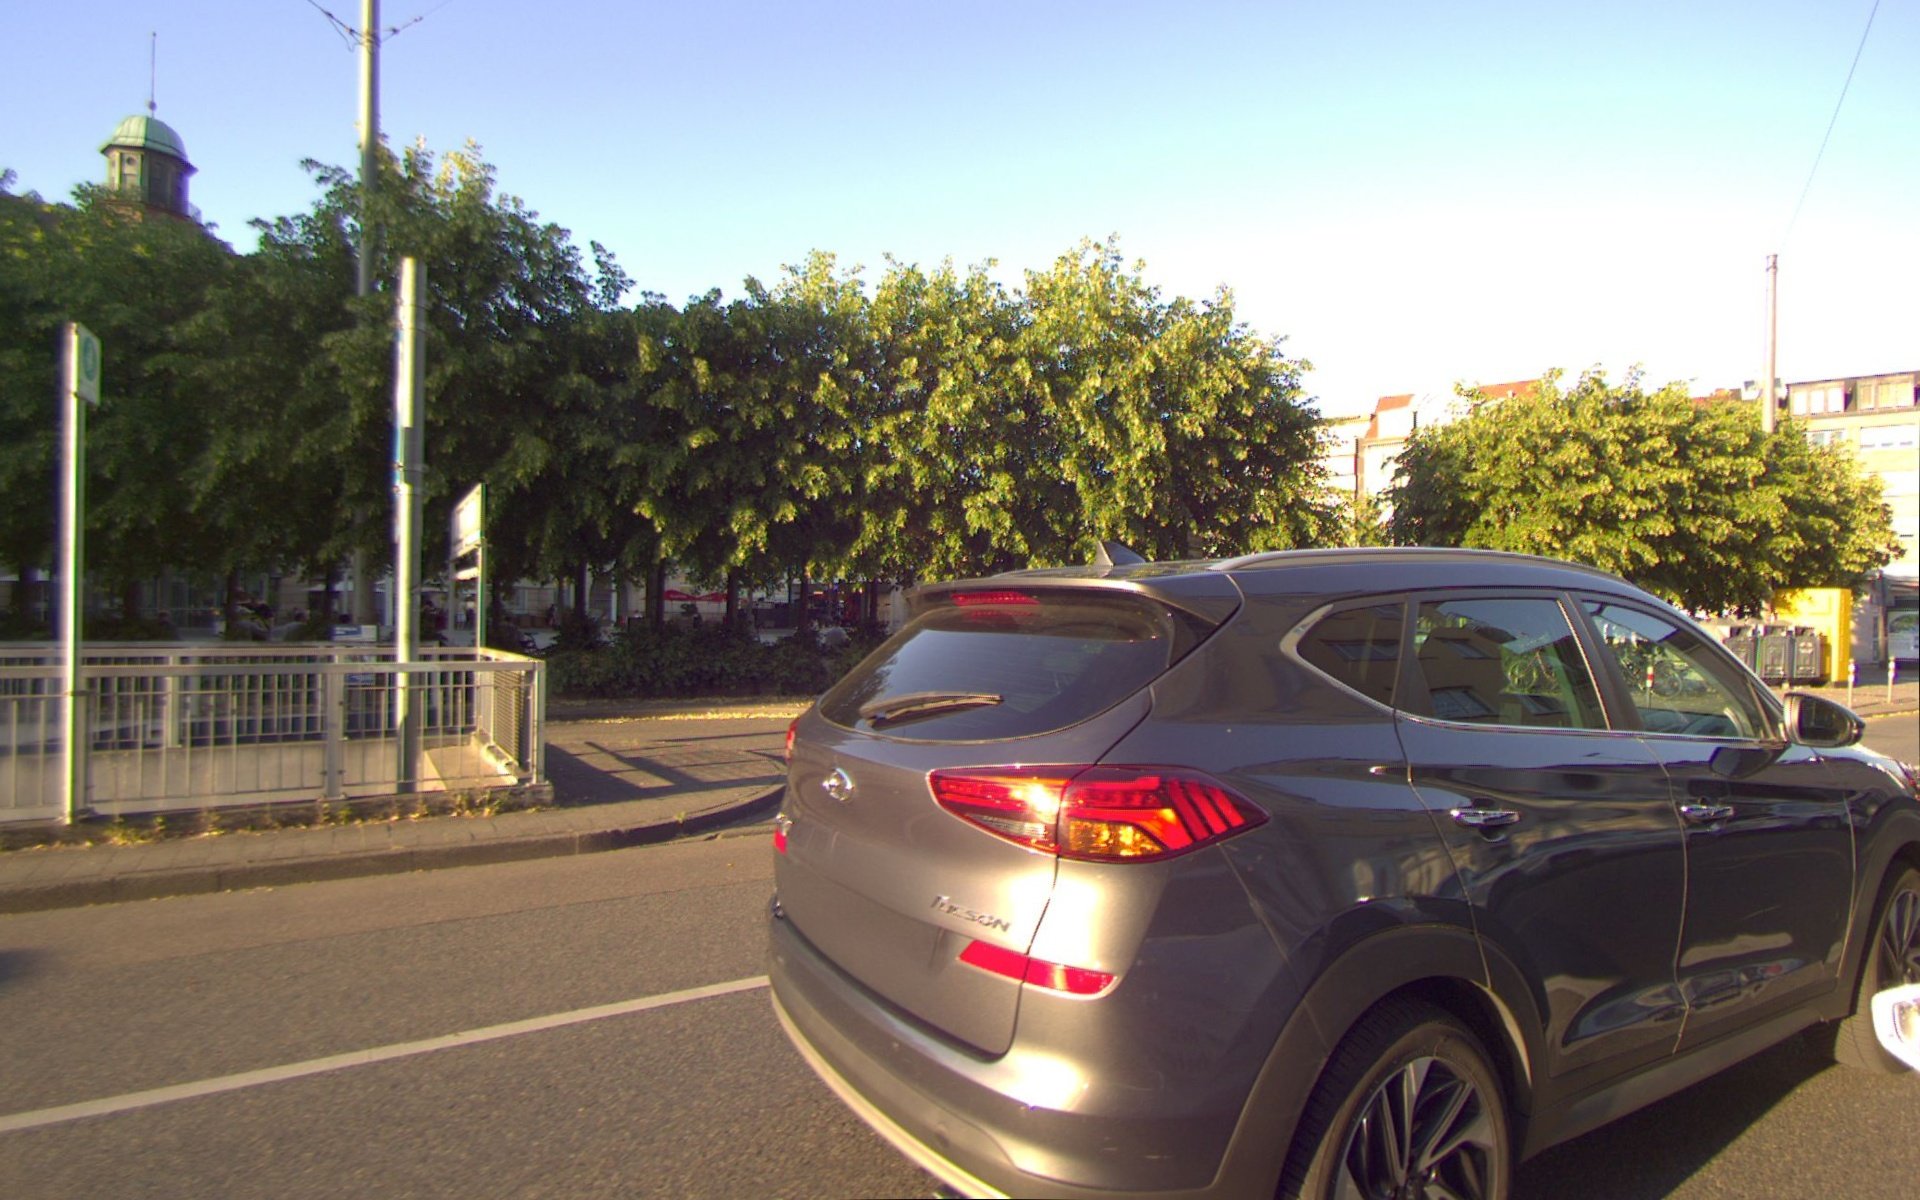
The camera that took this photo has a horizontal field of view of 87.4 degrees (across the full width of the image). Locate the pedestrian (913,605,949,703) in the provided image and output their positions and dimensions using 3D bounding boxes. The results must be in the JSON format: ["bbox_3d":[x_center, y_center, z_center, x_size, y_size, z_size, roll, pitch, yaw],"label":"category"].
[{"bbox_3d":[-0.621,1.141,21.469,0.725,2.040,0.906,1,0,-3],"label":"pedestrian"}]

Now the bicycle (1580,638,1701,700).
[{"bbox_3d":[14.189,1.410,21.000,0.543,1.150,2.012,1,1,-34],"label":"bicycle"}]

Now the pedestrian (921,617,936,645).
[{"bbox_3d":[-1.238,1.214,39.145,0.575,1.077,0.462,0,2,-1],"label":"pedestrian"}]

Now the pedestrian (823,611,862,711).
[{"bbox_3d":[-2.451,1.265,21.063,0.725,2.040,0.906,1,0,-3],"label":"pedestrian"}]

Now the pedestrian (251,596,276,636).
[{"bbox_3d":[-25.067,0.571,36.136,0.650,1.394,0.513,1,0,-45],"label":"pedestrian"}]

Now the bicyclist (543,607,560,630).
[{"bbox_3d":[-26.818,1.238,65.950,0.630,1.467,0.768,2,0,36],"label":"bicyclist"}]

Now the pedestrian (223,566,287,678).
[{"bbox_3d":[-13.310,0.404,18.963,0.892,2.040,0.736,1,0,37],"label":"pedestrian"}]

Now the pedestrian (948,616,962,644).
[{"bbox_3d":[-0.191,1.160,39.166,0.519,1.077,0.462,0,2,-1],"label":"pedestrian"}]

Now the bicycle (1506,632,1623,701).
[{"bbox_3d":[12.442,1.334,20.750,0.543,1.269,2.012,1,1,-34],"label":"bicycle"}]

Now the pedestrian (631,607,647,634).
[{"bbox_3d":[-13.277,0.831,41.540,0.525,1.077,0.457,-1,2,-36],"label":"pedestrian"}]

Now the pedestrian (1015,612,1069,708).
[{"bbox_3d":[1.780,1.294,21.986,0.844,2.040,0.901,1,0,-23],"label":"pedestrian"}]

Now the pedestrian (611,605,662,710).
[{"bbox_3d":[-6.409,1.125,19.943,0.725,2.040,0.906,1,0,-3],"label":"pedestrian"}]

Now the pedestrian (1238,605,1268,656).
[{"bbox_3d":[10.444,1.082,35.823,0.879,1.748,0.736,2,0,7],"label":"pedestrian"}]

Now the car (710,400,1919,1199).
[{"bbox_3d":[1.588,0.619,3.423,4.400,1.712,1.862,1,-2,-32],"label":"car"}]

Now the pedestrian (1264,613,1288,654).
[{"bbox_3d":[13.105,1.395,41.669,0.824,1.642,0.705,2,0,8],"label":"pedestrian"}]

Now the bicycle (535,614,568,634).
[{"bbox_3d":[-26.814,1.590,65.966,0.571,1.277,2.023,2,0,36],"label":"bicycle"}]

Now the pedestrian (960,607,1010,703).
[{"bbox_3d":[0.543,1.179,21.964,0.730,2.040,0.872,1,0,-28],"label":"pedestrian"}]

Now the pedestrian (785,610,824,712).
[{"bbox_3d":[-3.202,1.241,20.767,0.725,2.040,0.905,1,0,-7],"label":"pedestrian"}]

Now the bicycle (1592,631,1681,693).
[{"bbox_3d":[15.067,1.358,22.400,0.440,1.269,1.578,1,1,-31],"label":"bicycle"}]

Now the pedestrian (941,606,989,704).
[{"bbox_3d":[0.105,1.164,21.544,0.730,2.040,0.759,1,0,-28],"label":"pedestrian"}]

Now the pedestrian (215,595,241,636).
[{"bbox_3d":[-25.838,0.544,35.443,0.650,1.394,0.653,1,0,-45],"label":"pedestrian"}]

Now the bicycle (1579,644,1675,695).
[{"bbox_3d":[14.586,1.501,21.996,0.543,0.992,1.663,1,1,-34],"label":"bicycle"}]

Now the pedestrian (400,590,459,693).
[{"bbox_3d":[-10.828,0.827,20.502,0.892,2.040,0.736,1,0,37],"label":"pedestrian"}]

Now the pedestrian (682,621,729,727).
[{"bbox_3d":[-5.097,1.462,20.156,0.725,2.040,0.906,1,0,-3],"label":"pedestrian"}]

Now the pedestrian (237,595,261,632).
[{"bbox_3d":[-27.058,0.521,38.233,0.650,1.394,0.513,1,0,-45],"label":"pedestrian"}]
